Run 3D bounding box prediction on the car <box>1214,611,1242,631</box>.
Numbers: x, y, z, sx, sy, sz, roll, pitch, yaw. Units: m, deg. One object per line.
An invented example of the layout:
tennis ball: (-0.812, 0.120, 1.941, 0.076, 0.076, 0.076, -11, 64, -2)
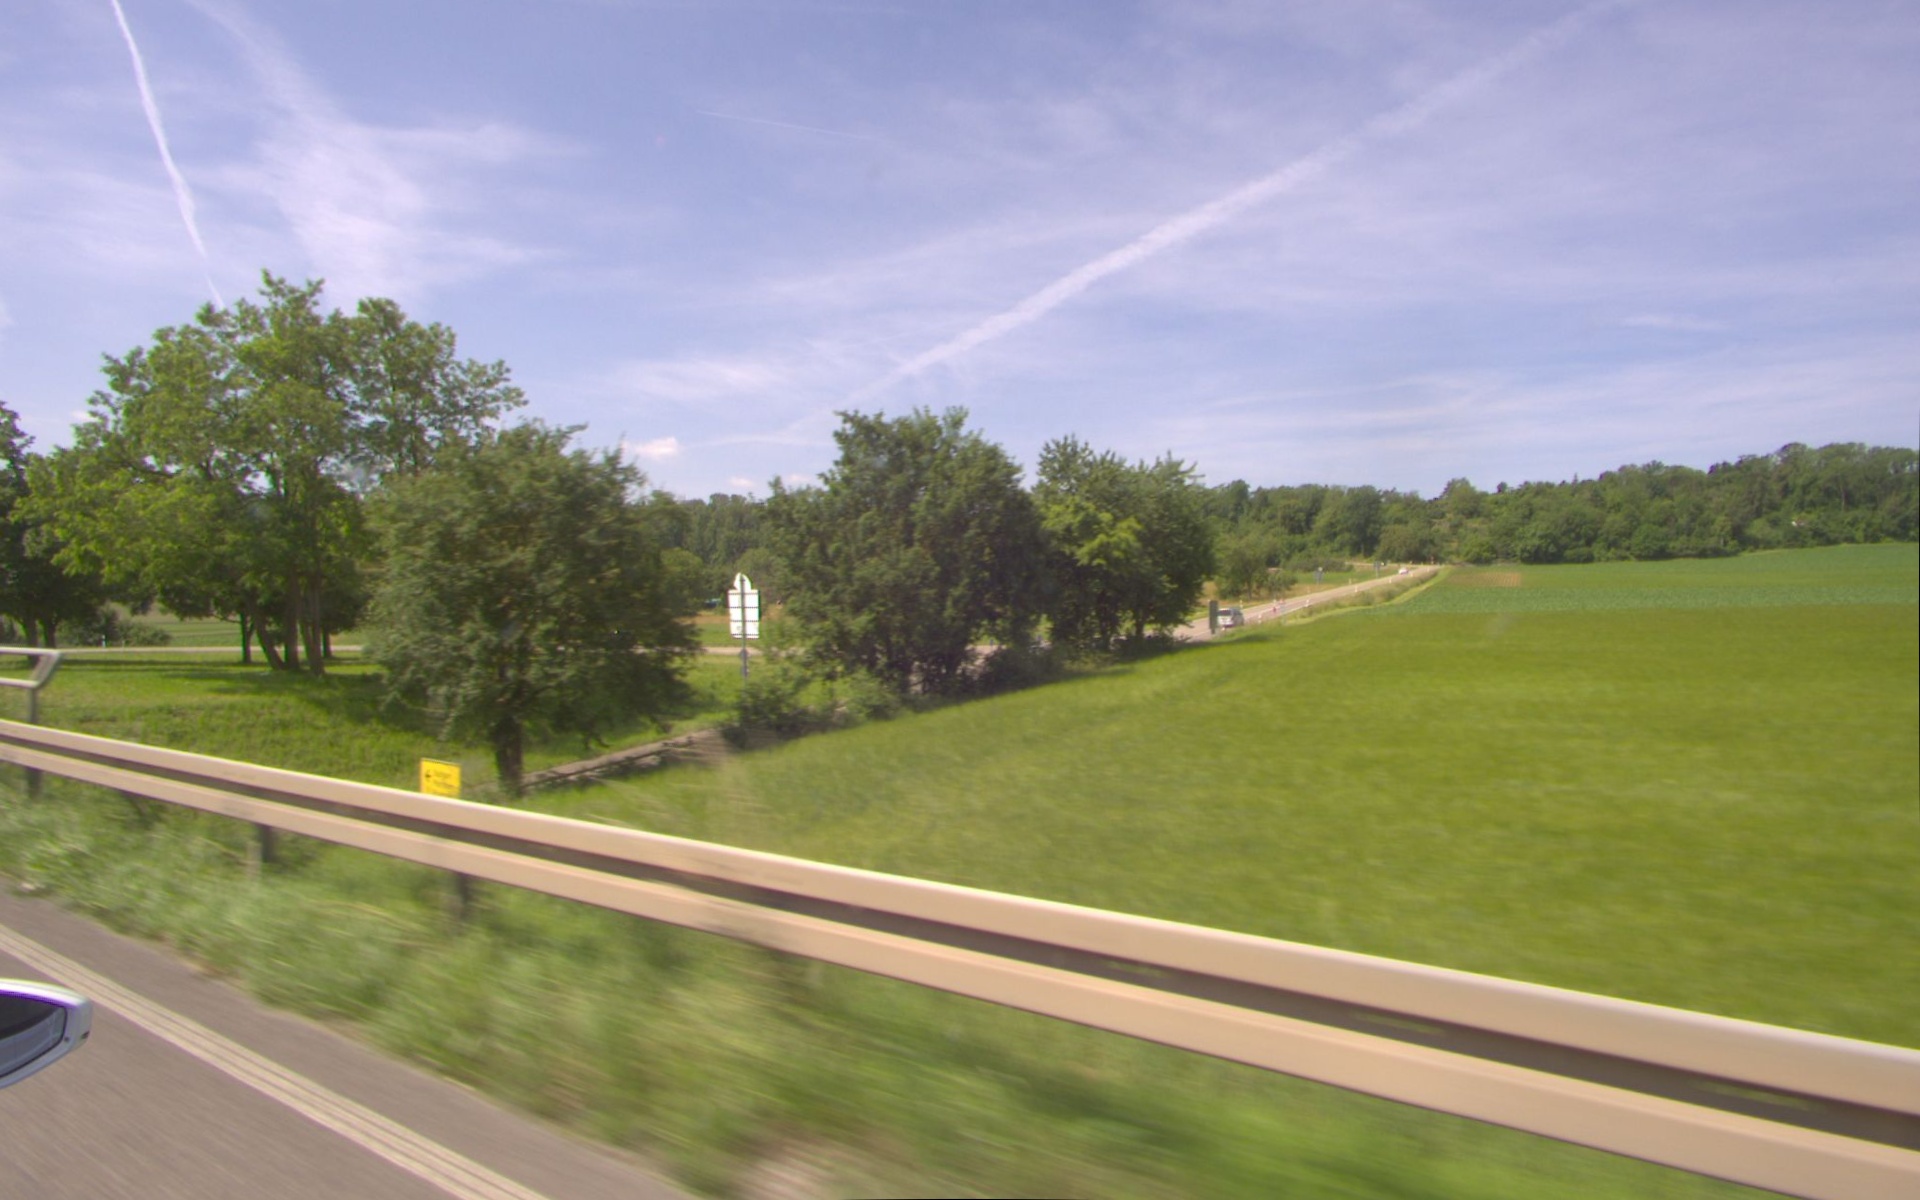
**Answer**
car: (25.187, 1.934, 94.106, 1.783, 1.571, 3.981, 0, 4, 27)
